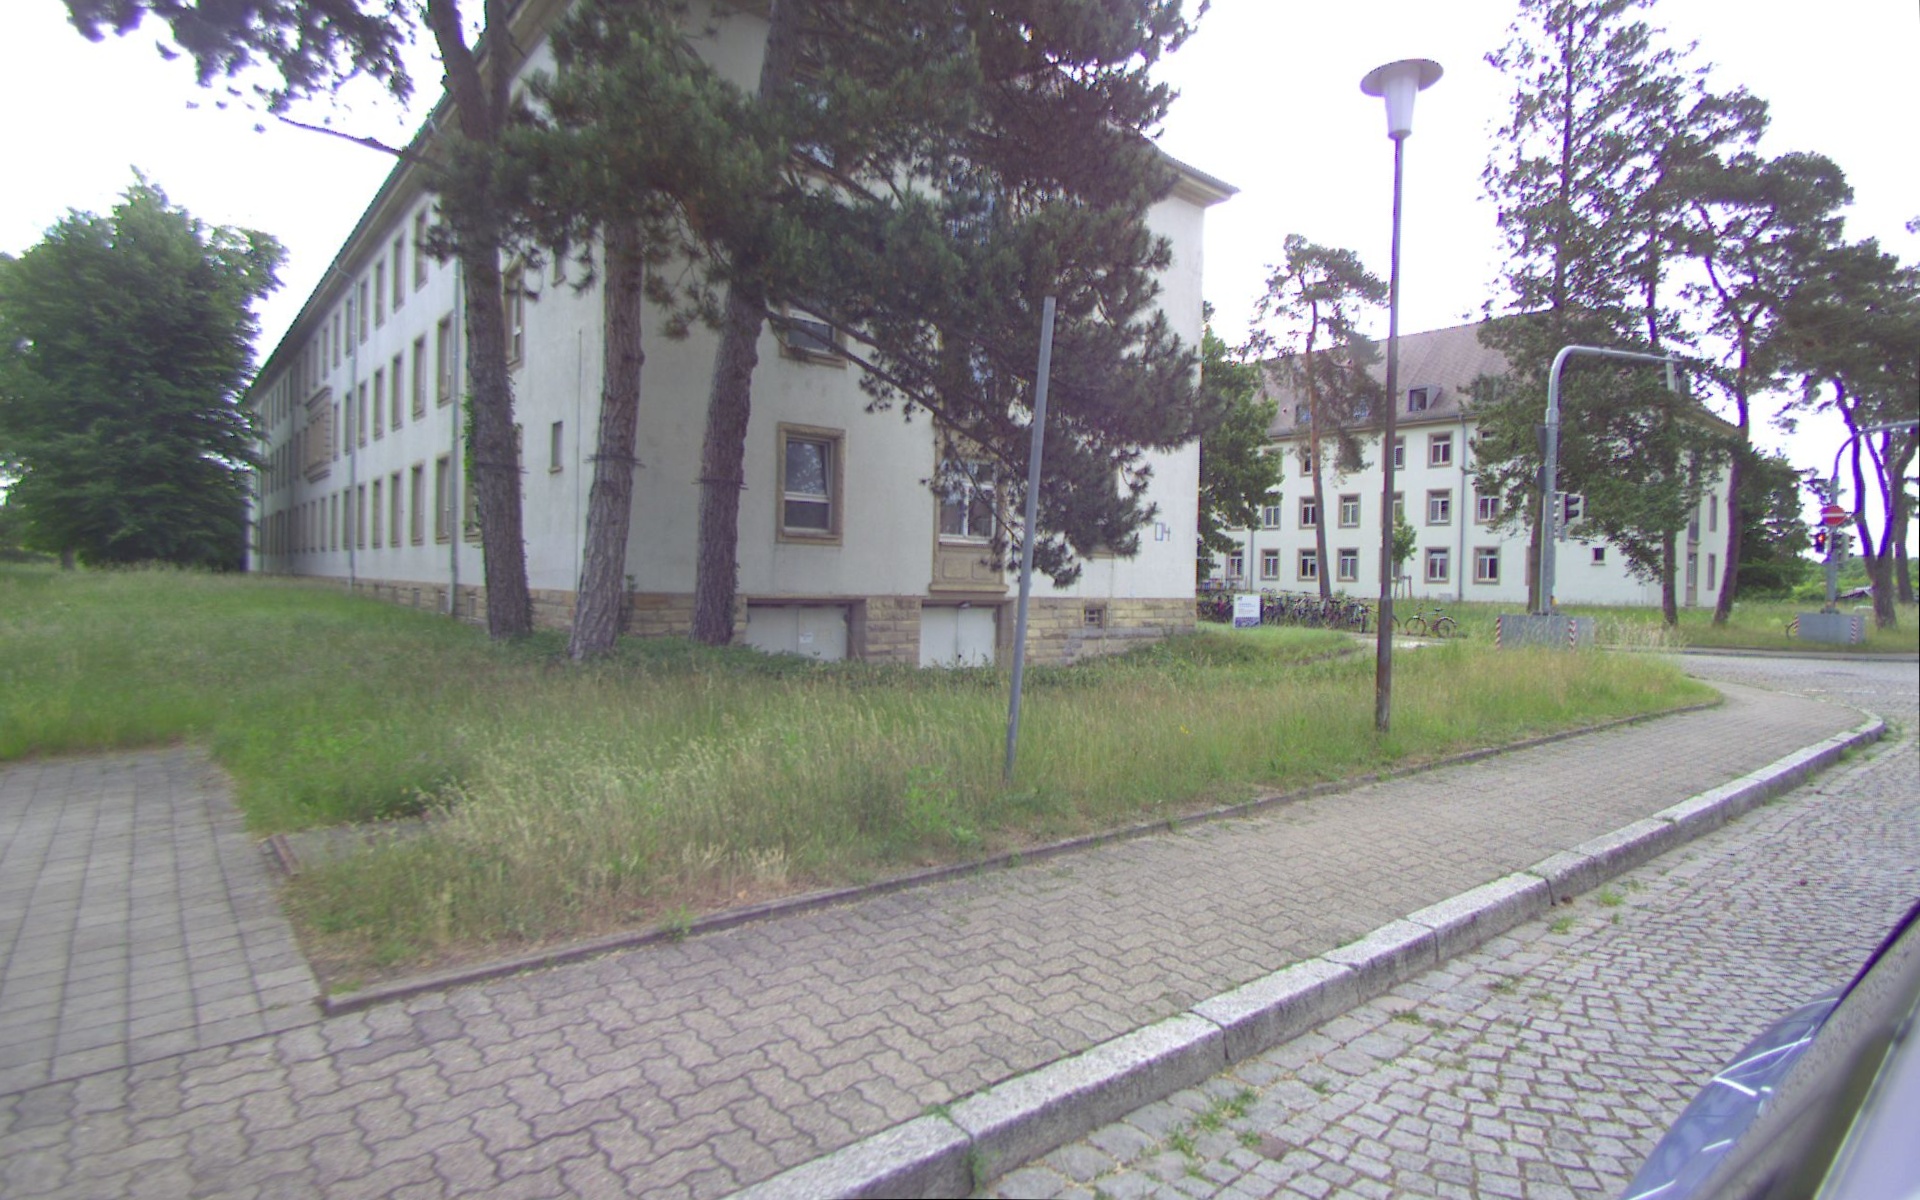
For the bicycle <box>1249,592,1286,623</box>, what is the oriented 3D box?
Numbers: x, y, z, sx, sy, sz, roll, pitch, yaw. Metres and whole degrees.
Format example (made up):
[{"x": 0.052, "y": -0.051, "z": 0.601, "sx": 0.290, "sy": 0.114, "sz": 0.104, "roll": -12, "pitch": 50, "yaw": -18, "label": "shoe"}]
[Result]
[{"x": 11.926, "y": 0.291, "z": 39.262, "sx": 1.699, "sy": 1.142, "sz": 0.448, "roll": 0, "pitch": 1, "yaw": -37, "label": "bicycle"}]

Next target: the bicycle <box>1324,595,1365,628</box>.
[{"x": 13.926, "y": 0.412, "z": 36.626, "sx": 1.669, "sy": 1.142, "sz": 0.477, "roll": 1, "pitch": 0, "yaw": -32, "label": "bicycle"}]

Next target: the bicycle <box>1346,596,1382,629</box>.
[{"x": 14.496, "y": 0.440, "z": 36.295, "sx": 1.628, "sy": 1.142, "sz": 0.476, "roll": 0, "pitch": 1, "yaw": -42, "label": "bicycle"}]

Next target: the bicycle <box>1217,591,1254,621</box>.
[{"x": 11.026, "y": 0.236, "z": 40.474, "sx": 1.699, "sy": 1.142, "sz": 0.448, "roll": 0, "pitch": 1, "yaw": -37, "label": "bicycle"}]

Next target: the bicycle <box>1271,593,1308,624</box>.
[{"x": 12.519, "y": 0.332, "z": 38.464, "sx": 1.699, "sy": 1.142, "sz": 0.448, "roll": 0, "pitch": 1, "yaw": -37, "label": "bicycle"}]

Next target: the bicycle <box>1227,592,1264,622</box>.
[{"x": 11.307, "y": 0.273, "z": 40.082, "sx": 1.699, "sy": 1.142, "sz": 0.448, "roll": 0, "pitch": 1, "yaw": -37, "label": "bicycle"}]

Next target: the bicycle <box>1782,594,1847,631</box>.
[{"x": 26.639, "y": 0.394, "z": 31.556, "sx": 1.623, "sy": 1.099, "sz": 0.615, "roll": 1, "pitch": 0, "yaw": -8, "label": "bicycle"}]

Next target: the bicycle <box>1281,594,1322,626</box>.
[{"x": 12.834, "y": 0.373, "z": 38.012, "sx": 1.697, "sy": 1.142, "sz": 0.448, "roll": 1, "pitch": 0, "yaw": -32, "label": "bicycle"}]

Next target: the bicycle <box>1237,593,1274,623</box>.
[{"x": 11.587, "y": 0.296, "z": 39.682, "sx": 1.699, "sy": 1.142, "sz": 0.448, "roll": 0, "pitch": 1, "yaw": -37, "label": "bicycle"}]

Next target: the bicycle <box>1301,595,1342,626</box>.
[{"x": 13.375, "y": 0.392, "z": 37.431, "sx": 1.697, "sy": 1.142, "sz": 0.448, "roll": 1, "pitch": 0, "yaw": -32, "label": "bicycle"}]

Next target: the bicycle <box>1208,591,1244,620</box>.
[{"x": 10.727, "y": 0.214, "z": 40.828, "sx": 1.699, "sy": 1.142, "sz": 0.448, "roll": 0, "pitch": 1, "yaw": -37, "label": "bicycle"}]

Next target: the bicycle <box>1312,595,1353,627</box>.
[{"x": 13.629, "y": 0.390, "z": 37.022, "sx": 1.668, "sy": 1.142, "sz": 0.448, "roll": 1, "pitch": 0, "yaw": -32, "label": "bicycle"}]

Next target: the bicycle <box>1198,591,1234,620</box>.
[{"x": 10.416, "y": 0.218, "z": 41.221, "sx": 1.699, "sy": 1.142, "sz": 0.448, "roll": 0, "pitch": 1, "yaw": -37, "label": "bicycle"}]

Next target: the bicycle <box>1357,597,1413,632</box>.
[{"x": 14.275, "y": 0.482, "z": 34.038, "sx": 0.603, "sy": 1.099, "sz": 1.656, "roll": 1, "pitch": 1, "yaw": -38, "label": "bicycle"}]

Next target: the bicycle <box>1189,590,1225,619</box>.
[{"x": 10.141, "y": 0.181, "z": 41.562, "sx": 1.699, "sy": 1.142, "sz": 0.448, "roll": 0, "pitch": 1, "yaw": -37, "label": "bicycle"}]

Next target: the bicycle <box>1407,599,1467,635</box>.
[{"x": 15.462, "y": 0.546, "z": 32.820, "sx": 0.604, "sy": 1.099, "sz": 1.653, "roll": 1, "pitch": 1, "yaw": -43, "label": "bicycle"}]

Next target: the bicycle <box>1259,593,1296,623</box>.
[{"x": 12.211, "y": 0.309, "z": 38.871, "sx": 1.699, "sy": 1.142, "sz": 0.448, "roll": 0, "pitch": 1, "yaw": -37, "label": "bicycle"}]
